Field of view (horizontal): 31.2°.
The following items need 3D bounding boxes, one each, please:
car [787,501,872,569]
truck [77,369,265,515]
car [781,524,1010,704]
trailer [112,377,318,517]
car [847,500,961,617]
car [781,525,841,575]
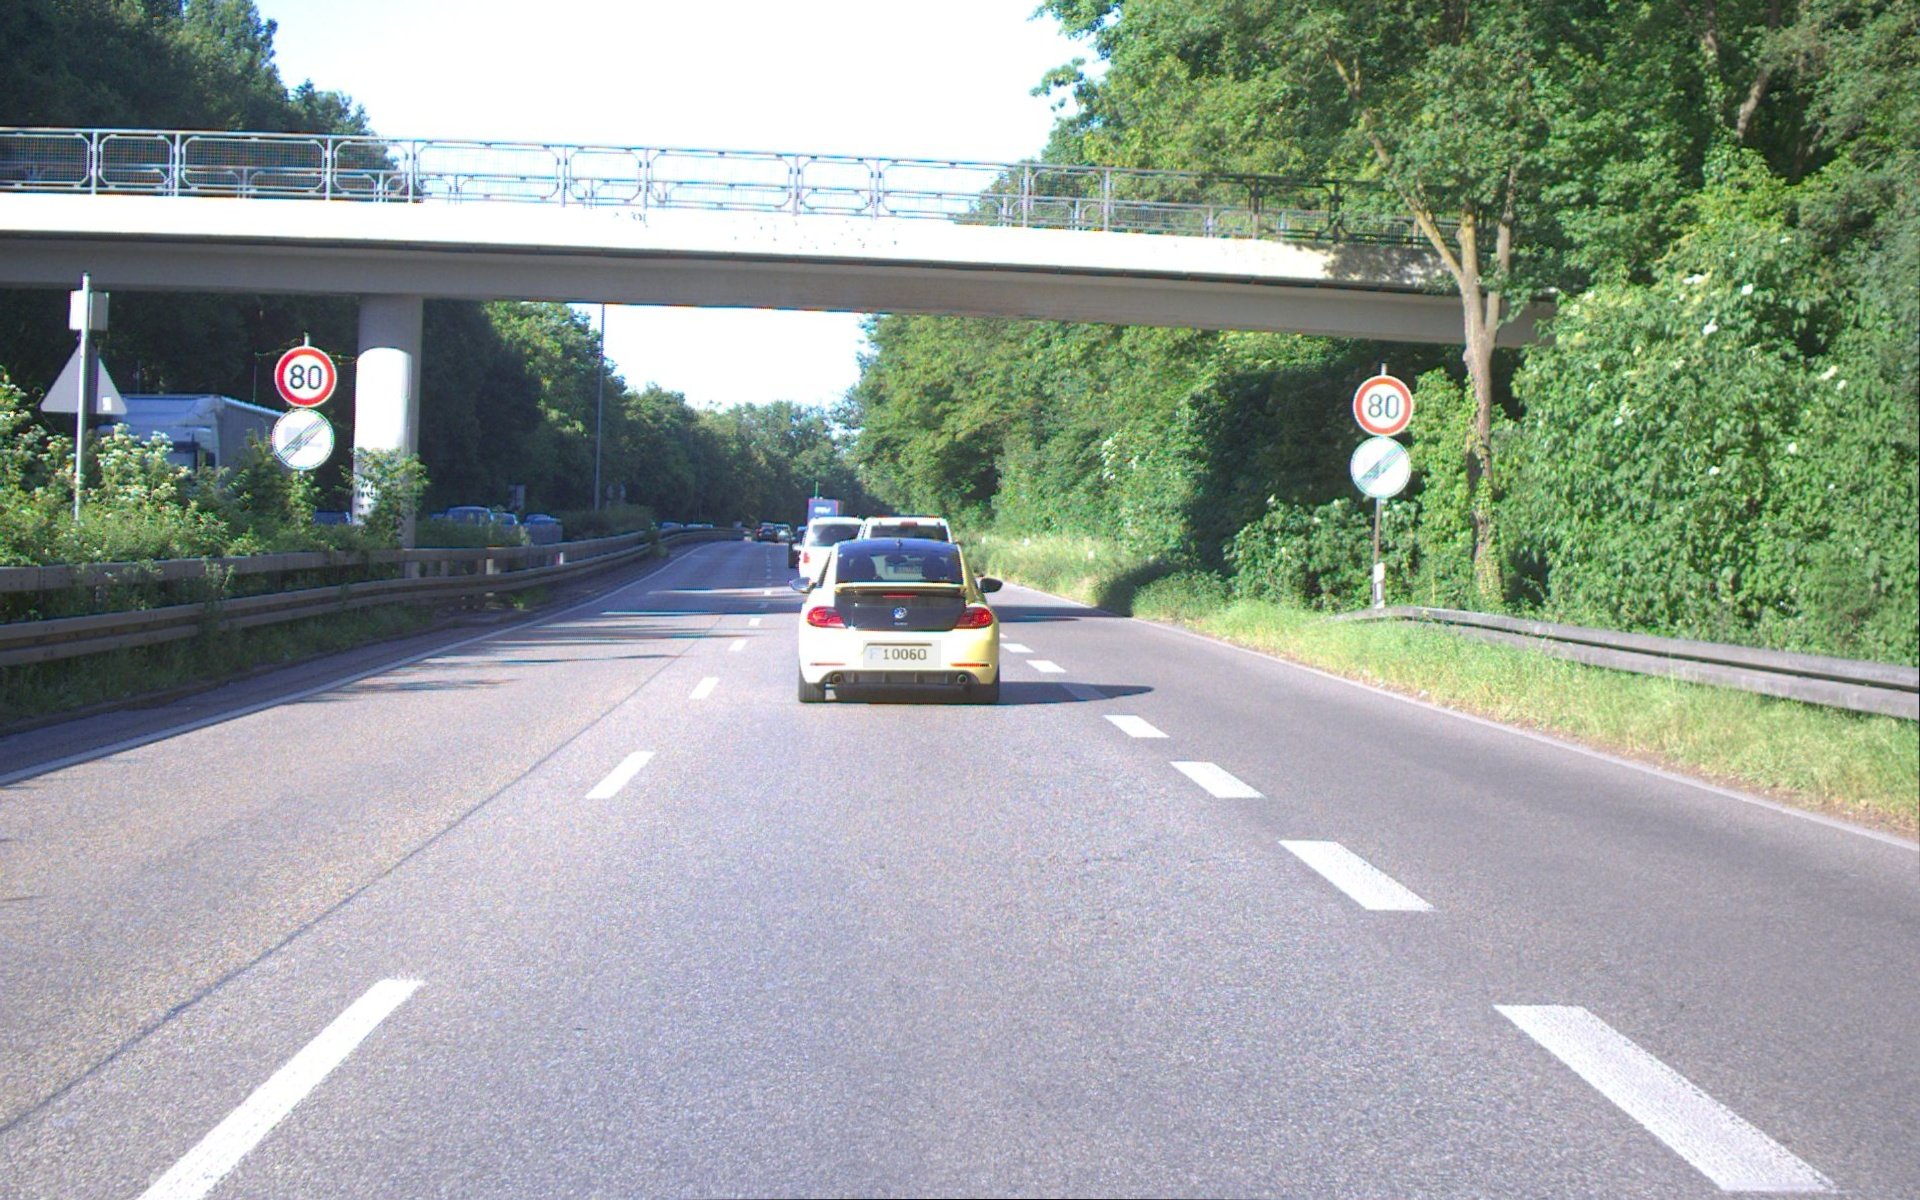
[{"bbox_3d":[-3.084,-1.529,81.337,1.939,1.539,3.423,1,1,-2],"label":"car"},{"bbox_3d":[-18.338,-3.621,80.329,2.929,3.157,7.084,1,1,-2],"label":"truck"},{"bbox_3d":[-0.536,0.091,31.231,1.939,1.503,3.422,1,1,1],"label":"car"},{"bbox_3d":[-18.536,-3.718,86.345,2.929,3.157,11.917,1,1,-2],"label":"trailer"},{"bbox_3d":[-0.931,-0.721,58.742,1.741,1.823,3.422,4,1,1],"label":"car"},{"bbox_3d":[-5.349,-1.804,123.004,1.993,1.744,4.374,1,1,-4],"label":"car"}]
